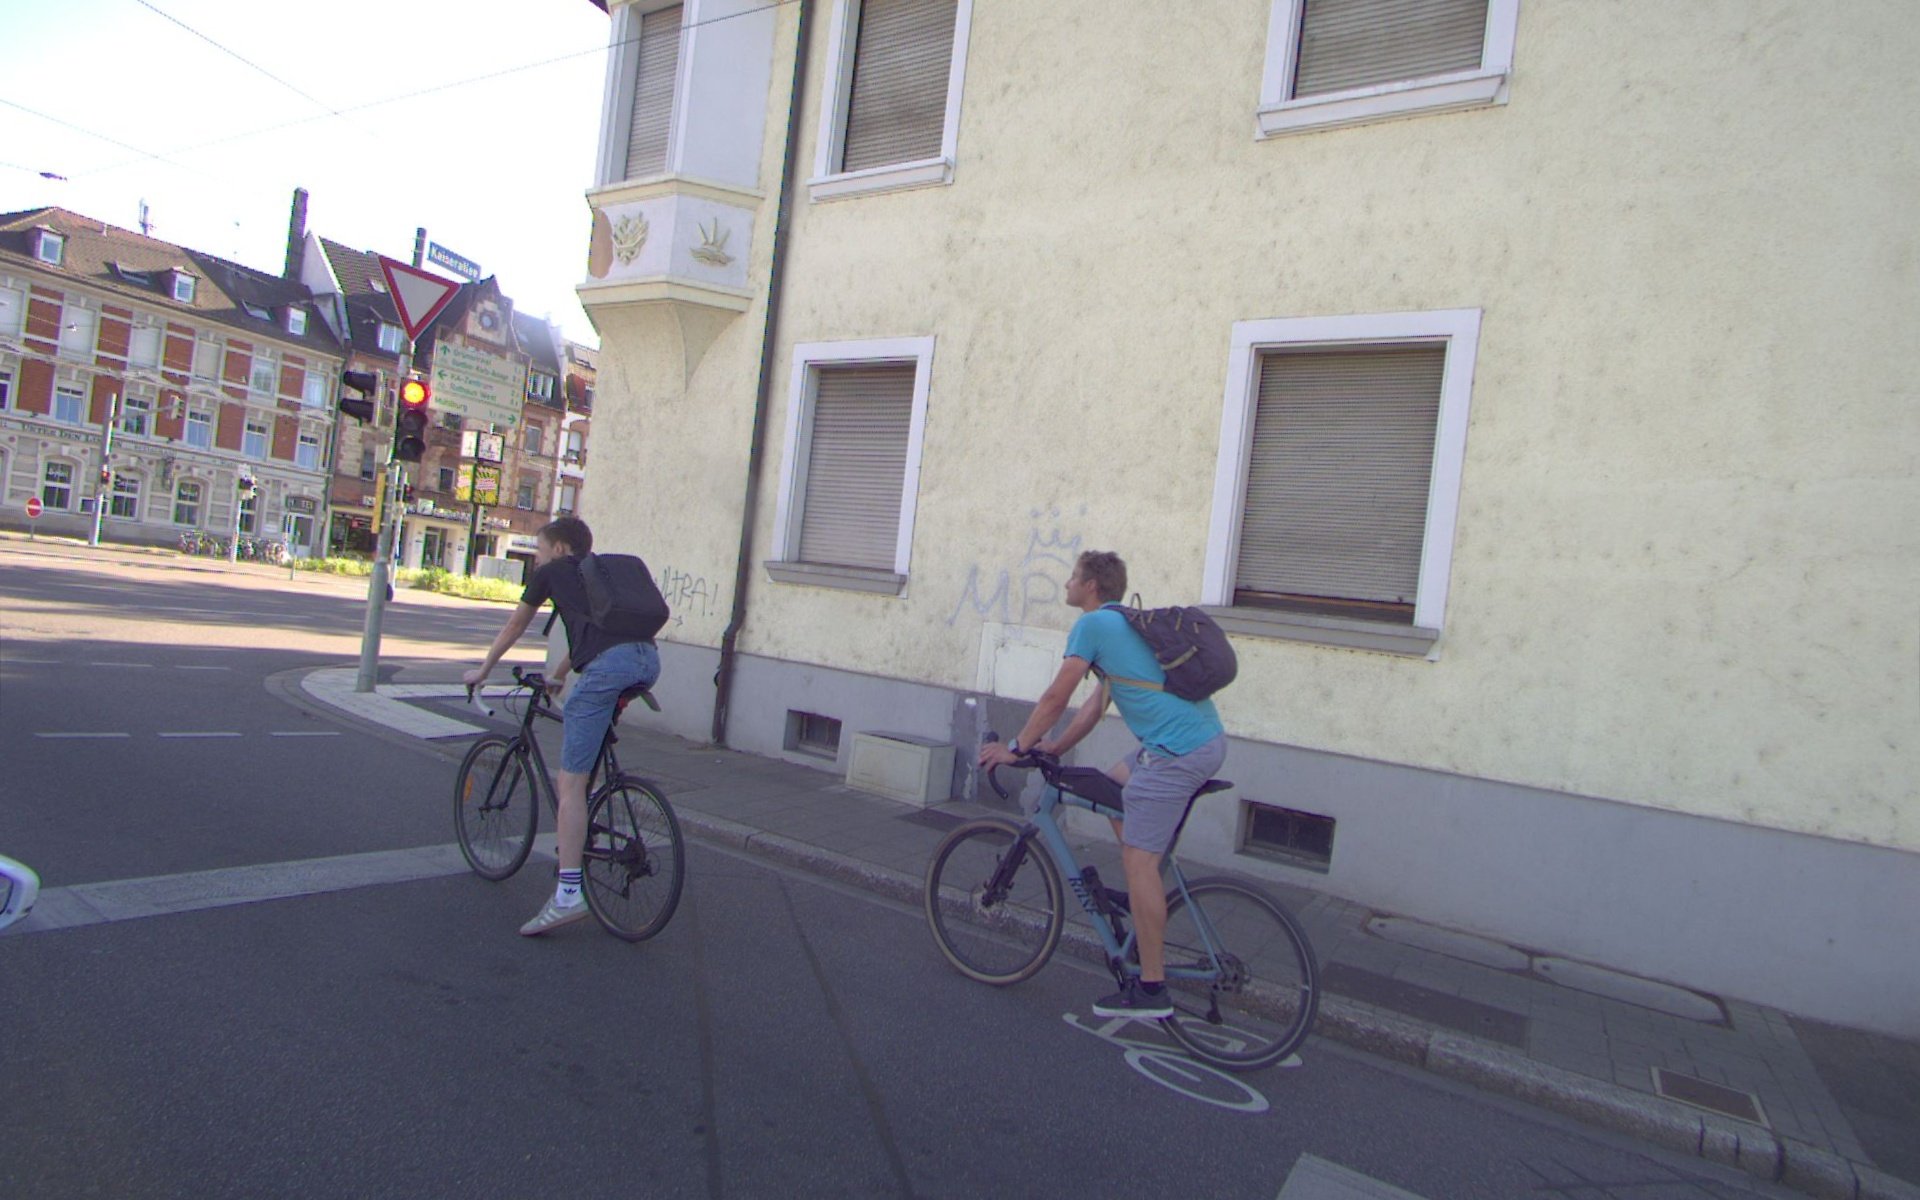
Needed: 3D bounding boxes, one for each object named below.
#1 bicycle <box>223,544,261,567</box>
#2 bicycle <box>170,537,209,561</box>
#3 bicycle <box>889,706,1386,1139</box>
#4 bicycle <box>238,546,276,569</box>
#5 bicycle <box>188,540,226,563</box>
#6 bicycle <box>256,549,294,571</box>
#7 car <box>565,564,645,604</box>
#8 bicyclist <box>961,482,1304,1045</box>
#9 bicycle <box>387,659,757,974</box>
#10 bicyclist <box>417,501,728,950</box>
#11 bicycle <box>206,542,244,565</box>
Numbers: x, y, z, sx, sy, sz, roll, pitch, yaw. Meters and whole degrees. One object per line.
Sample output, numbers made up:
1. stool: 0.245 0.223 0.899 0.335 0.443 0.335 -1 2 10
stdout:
1. bicycle: -33.827 -2.092 47.356 2.125 0.850 0.659 6 -2 33
2. bicycle: -34.851 -2.302 45.472 2.125 0.850 0.659 6 -2 33
3. bicycle: 0.633 1.139 4.026 1.767 1.104 0.518 9 1 35
4. bicycle: -33.472 -2.024 47.887 2.125 0.850 0.659 6 -2 33
5. bicycle: -34.535 -2.234 46.139 2.125 0.850 0.659 6 -2 33
6. bicycle: -33.084 -1.945 48.591 2.125 0.850 0.659 6 -2 33
7. car: -22.991 -1.005 65.316 1.968 2.038 4.430 7 -1 34
8. bicyclist: 0.680 0.579 4.042 0.930 1.958 0.518 10 2 35
9. bicycle: -1.778 0.870 4.496 1.721 0.982 0.519 7 0 32
10. bicyclist: -1.730 0.487 4.475 1.098 1.722 0.573 7 0 32
11. bicycle: -34.162 -2.160 46.760 2.125 0.850 0.659 6 -2 33
